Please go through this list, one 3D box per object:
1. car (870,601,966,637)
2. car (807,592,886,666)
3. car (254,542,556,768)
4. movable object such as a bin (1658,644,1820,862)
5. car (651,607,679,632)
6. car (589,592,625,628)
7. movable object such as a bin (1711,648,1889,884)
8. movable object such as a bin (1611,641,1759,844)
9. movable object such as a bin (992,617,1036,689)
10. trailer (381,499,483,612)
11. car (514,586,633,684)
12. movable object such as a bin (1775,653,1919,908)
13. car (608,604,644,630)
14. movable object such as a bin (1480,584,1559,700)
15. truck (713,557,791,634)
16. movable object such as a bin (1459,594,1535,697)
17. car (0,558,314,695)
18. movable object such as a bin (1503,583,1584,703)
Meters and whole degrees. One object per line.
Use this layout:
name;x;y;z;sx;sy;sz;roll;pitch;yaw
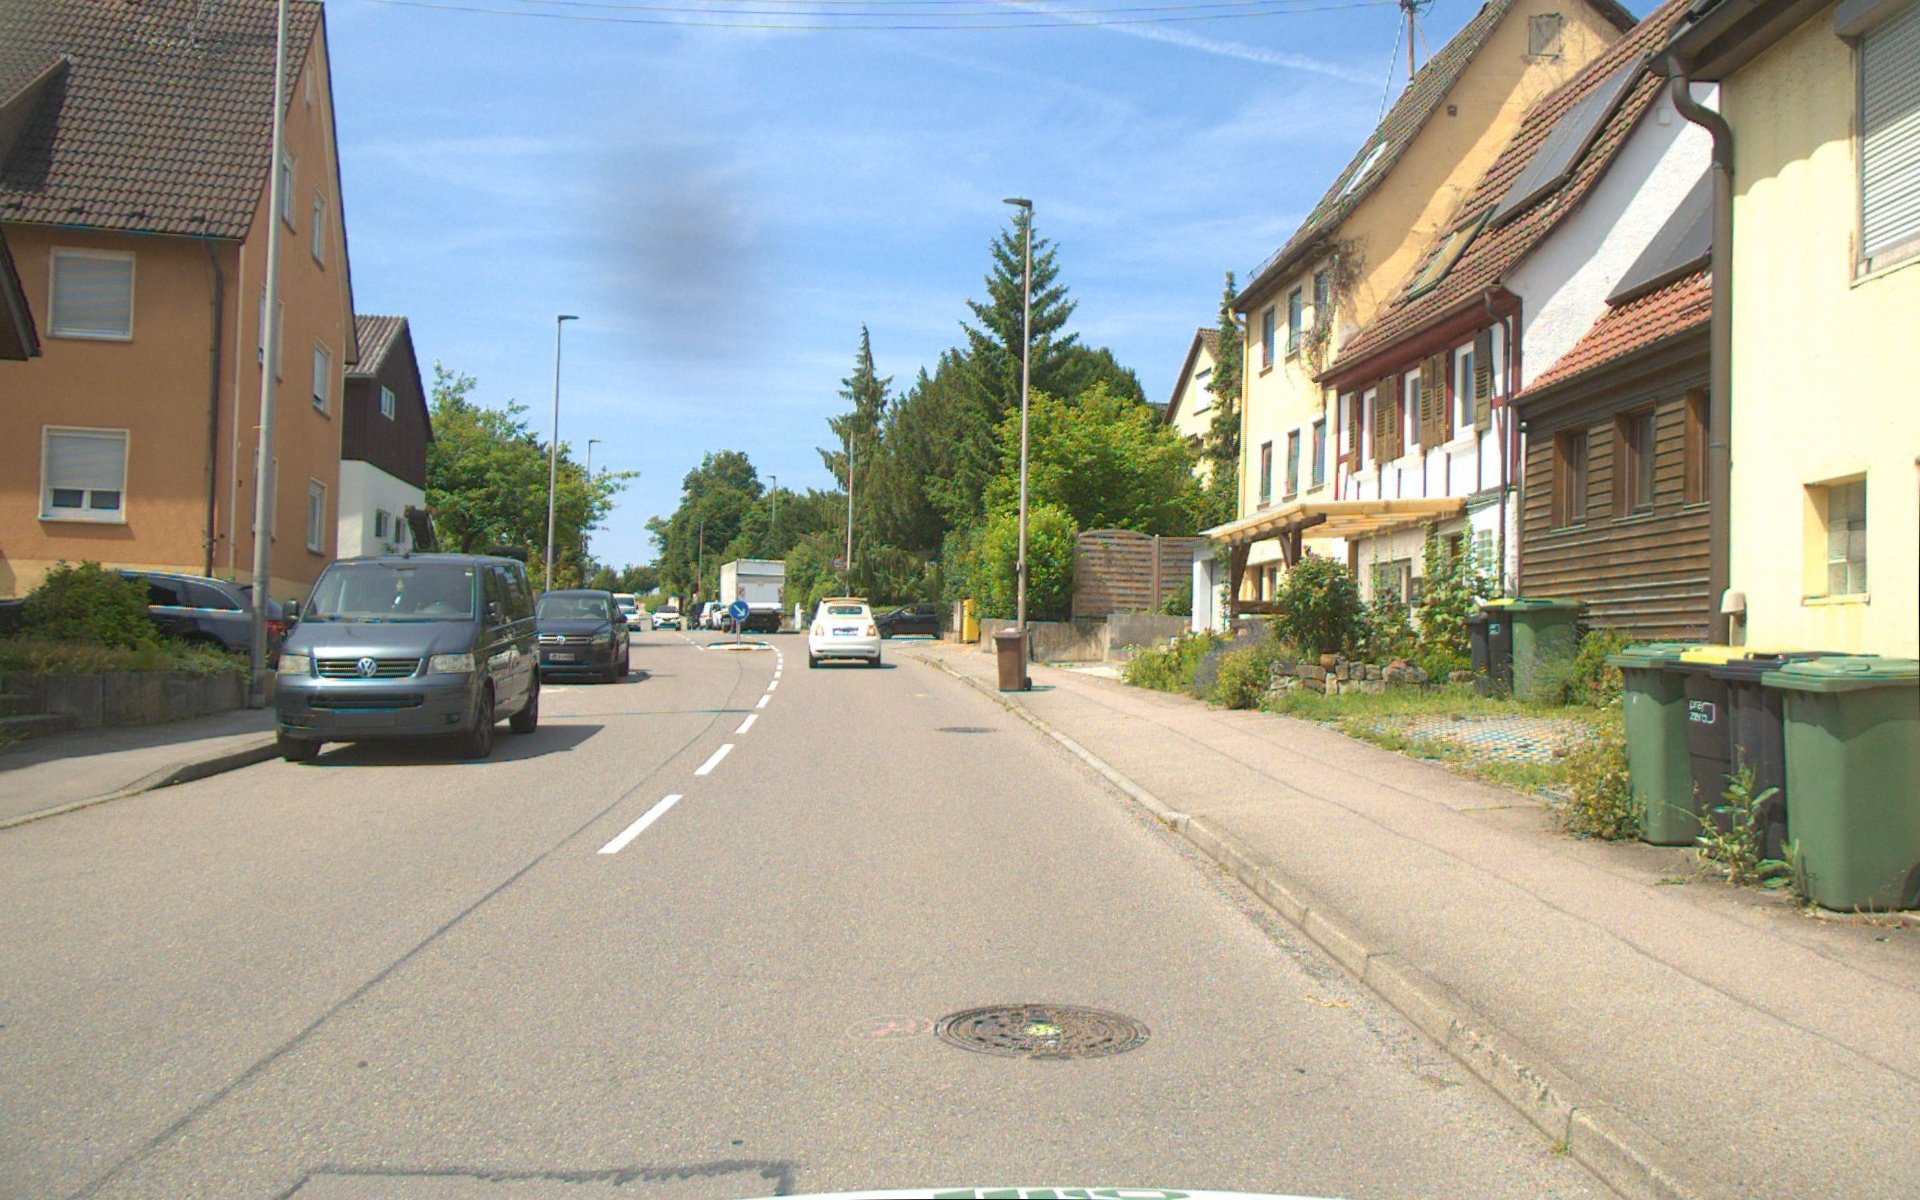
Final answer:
car;-1.782;0.802;69.914;3.861;1.483;1.655;0;-1;-10
car;-2.566;0.637;37.815;1.690;1.587;3.997;0;0;-3
car;-5.498;0.491;17.069;1.854;1.971;4.980;0;0;-5
movable object such as a bin;4.008;0.770;8.535;0.535;1.051;0.551;-2;0;-2
car;-19.064;1.265;106.728;1.751;1.556;4.159;0;-1;-11
car;-23.113;0.653;108.264;2.003;2.238;5.559;1;-1;-15
movable object such as a bin;4.016;0.778;7.937;0.535;1.051;0.551;-2;0;-2
movable object such as a bin;3.993;0.768;9.137;0.535;1.051;0.551;-2;0;-2
movable object such as a bin;0.820;0.802;25.130;0.484;1.051;0.548;-3;0;18
trailer;-14.653;-1.161;46.194;1.680;2.898;6.161;2;0;-9
car;-7.055;0.598;30.543;1.735;1.664;4.280;0;0;-8
movable object such as a bin;4.048;0.782;7.358;0.535;1.051;0.551;-2;0;-2
car;-19.273;0.984;95.380;1.775;1.422;3.984;1;-1;-15
movable object such as a bin;5.998;0.448;17.748;0.525;1.177;0.548;-6;0;-8
truck;-11.073;-0.173;87.427;3.018;3.840;7.835;1;-1;-15
movable object such as a bin;5.951;0.500;18.357;0.525;1.075;0.548;-6;0;-8
car;-10.941;0.322;21.767;4.153;1.430;1.817;5;-1;-11
movable object such as a bin;6.057;0.441;17.184;0.525;1.177;0.510;-6;0;-7
